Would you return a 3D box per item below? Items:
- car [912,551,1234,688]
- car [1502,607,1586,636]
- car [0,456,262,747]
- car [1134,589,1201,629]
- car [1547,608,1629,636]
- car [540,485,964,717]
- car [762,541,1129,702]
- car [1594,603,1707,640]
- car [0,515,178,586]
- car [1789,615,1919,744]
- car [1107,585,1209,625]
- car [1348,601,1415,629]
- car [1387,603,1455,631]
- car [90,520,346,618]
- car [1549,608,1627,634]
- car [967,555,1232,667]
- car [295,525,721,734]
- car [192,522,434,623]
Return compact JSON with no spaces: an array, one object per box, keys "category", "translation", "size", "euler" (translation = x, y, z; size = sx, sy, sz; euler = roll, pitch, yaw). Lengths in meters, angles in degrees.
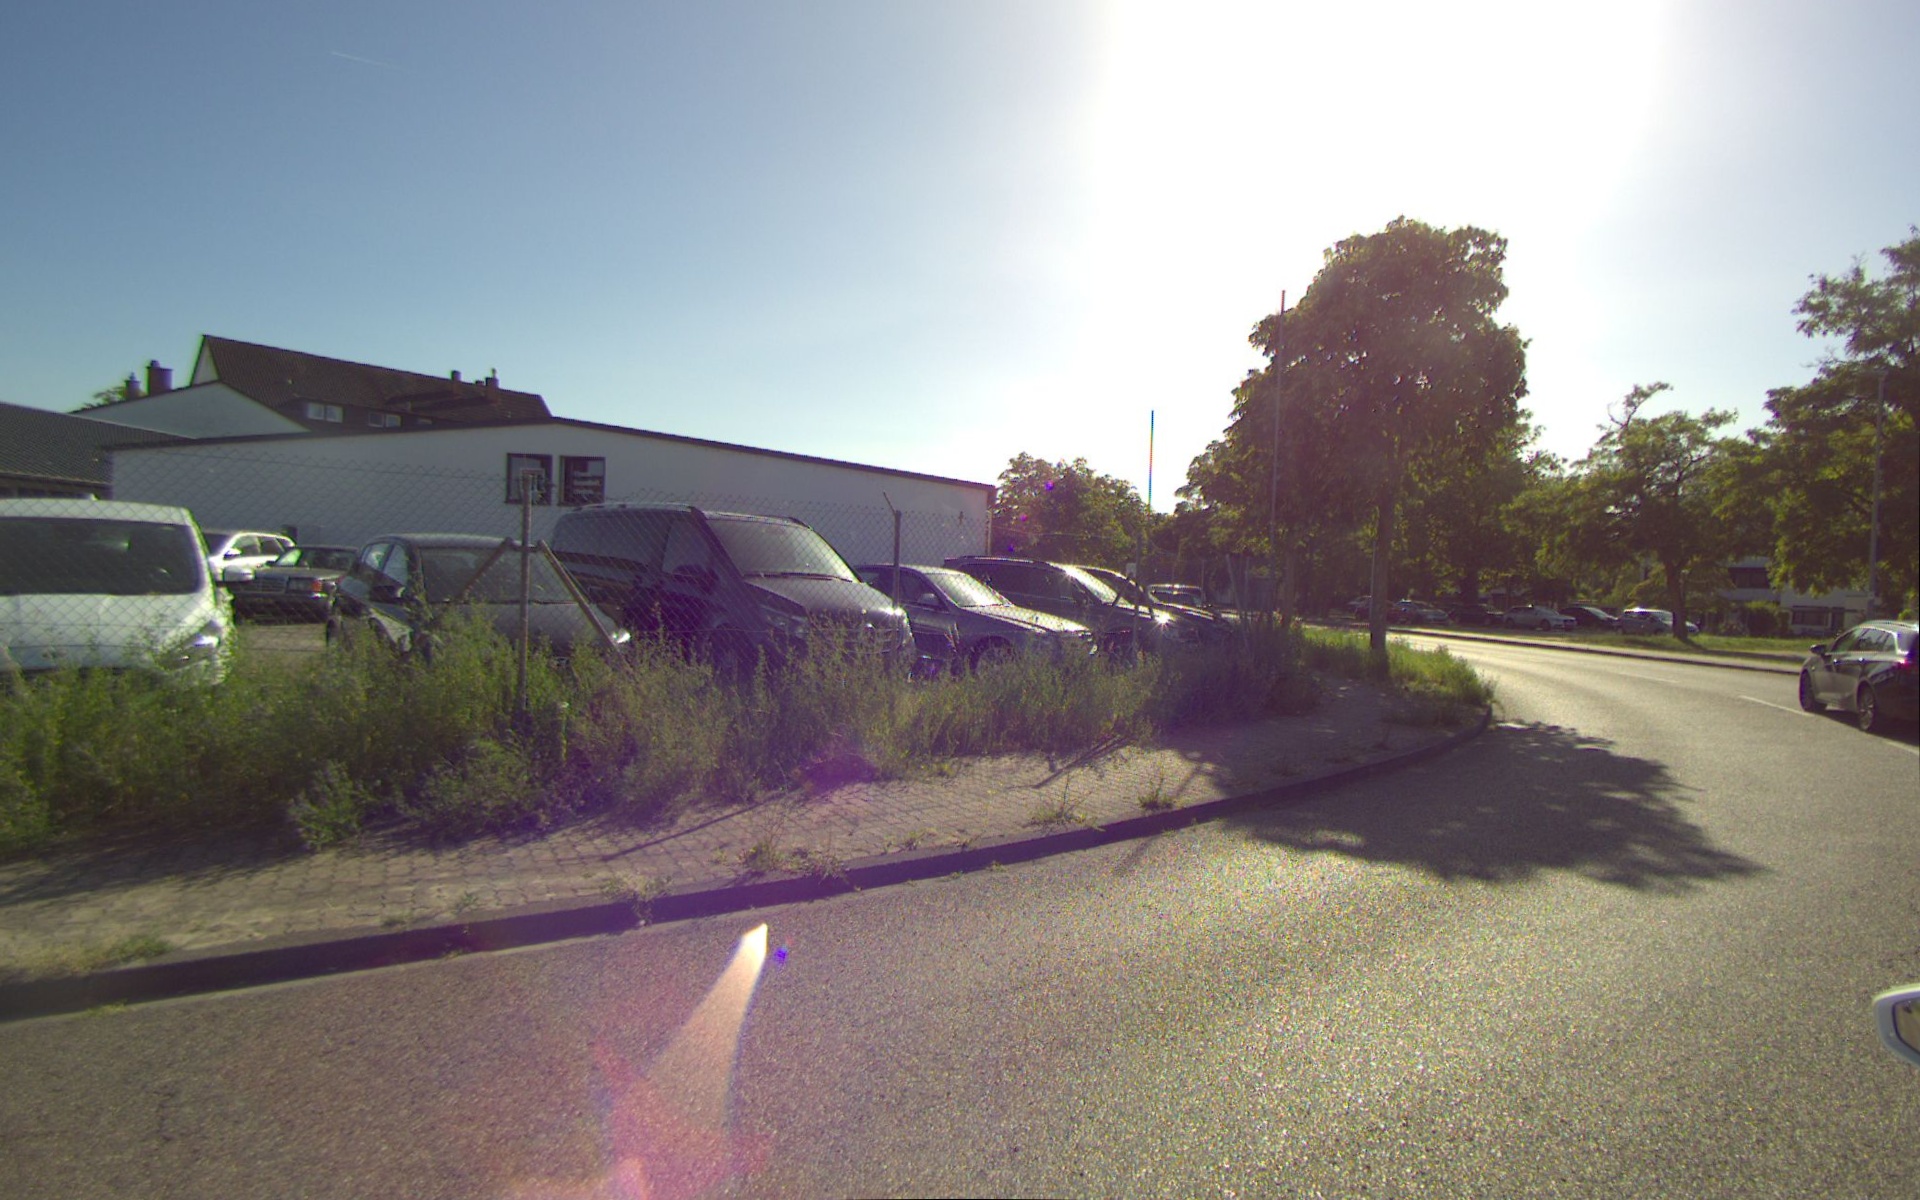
[{"category":"car","translation":[1.665,0.216,14.819],"size":[4.319,1.671,1.839],"euler":[3,1,23]},{"category":"car","translation":[35.213,1.255,60.711],"size":[1.961,1.504,4.924],"euler":[2,1,-3]},{"category":"car","translation":[-6.540,-0.071,7.681],"size":[1.823,1.671,4.357],"euler":[2,1,-37]},{"category":"car","translation":[8.664,0.352,41.700],"size":[1.805,1.456,4.401],"euler":[3,1,23]},{"category":"car","translation":[40.297,1.391,64.651],"size":[1.961,1.504,4.924],"euler":[2,1,-3]},{"category":"car","translation":[-2.384,-0.085,10.601],"size":[4.779,1.918,1.831],"euler":[4,2,41]},{"category":"car","translation":[-0.258,0.169,12.740],"size":[4.328,1.671,1.835],"euler":[3,1,33]},{"category":"car","translation":[33.974,1.020,49.639],"size":[1.961,1.504,4.924],"euler":[2,1,-3]},{"category":"car","translation":[-23.170,-1.242,26.358],"size":[1.804,1.671,4.403],"euler":[2,1,0]},{"category":"car","translation":[13.431,1.028,14.038],"size":[1.913,1.509,4.558],"euler":[2,1,28]},{"category":"car","translation":[8.897,0.241,45.147],"size":[4.353,1.631,1.825],"euler":[2,1,-30]},{"category":"car","translation":[27.033,0.924,64.616],"size":[1.961,1.504,4.924],"euler":[2,1,-3]},{"category":"car","translation":[29.856,1.066,65.226],"size":[1.961,1.504,4.924],"euler":[2,1,-3]},{"category":"car","translation":[-14.532,-0.594,20.045],"size":[1.804,1.671,4.403],"euler":[2,1,0]},{"category":"car","translation":[42.440,1.390,68.023],"size":[1.961,1.504,4.924],"euler":[2,1,-3]},{"category":"car","translation":[2.345,0.161,17.627],"size":[4.316,1.671,1.841],"euler":[3,1,2]},{"category":"car","translation":[-4.251,0.118,9.097],"size":[4.338,1.456,1.831],"euler":[3,2,40]},{"category":"car","translation":[-12.331,-0.520,19.555],"size":[1.804,1.671,4.403],"euler":[2,1,0]}]
